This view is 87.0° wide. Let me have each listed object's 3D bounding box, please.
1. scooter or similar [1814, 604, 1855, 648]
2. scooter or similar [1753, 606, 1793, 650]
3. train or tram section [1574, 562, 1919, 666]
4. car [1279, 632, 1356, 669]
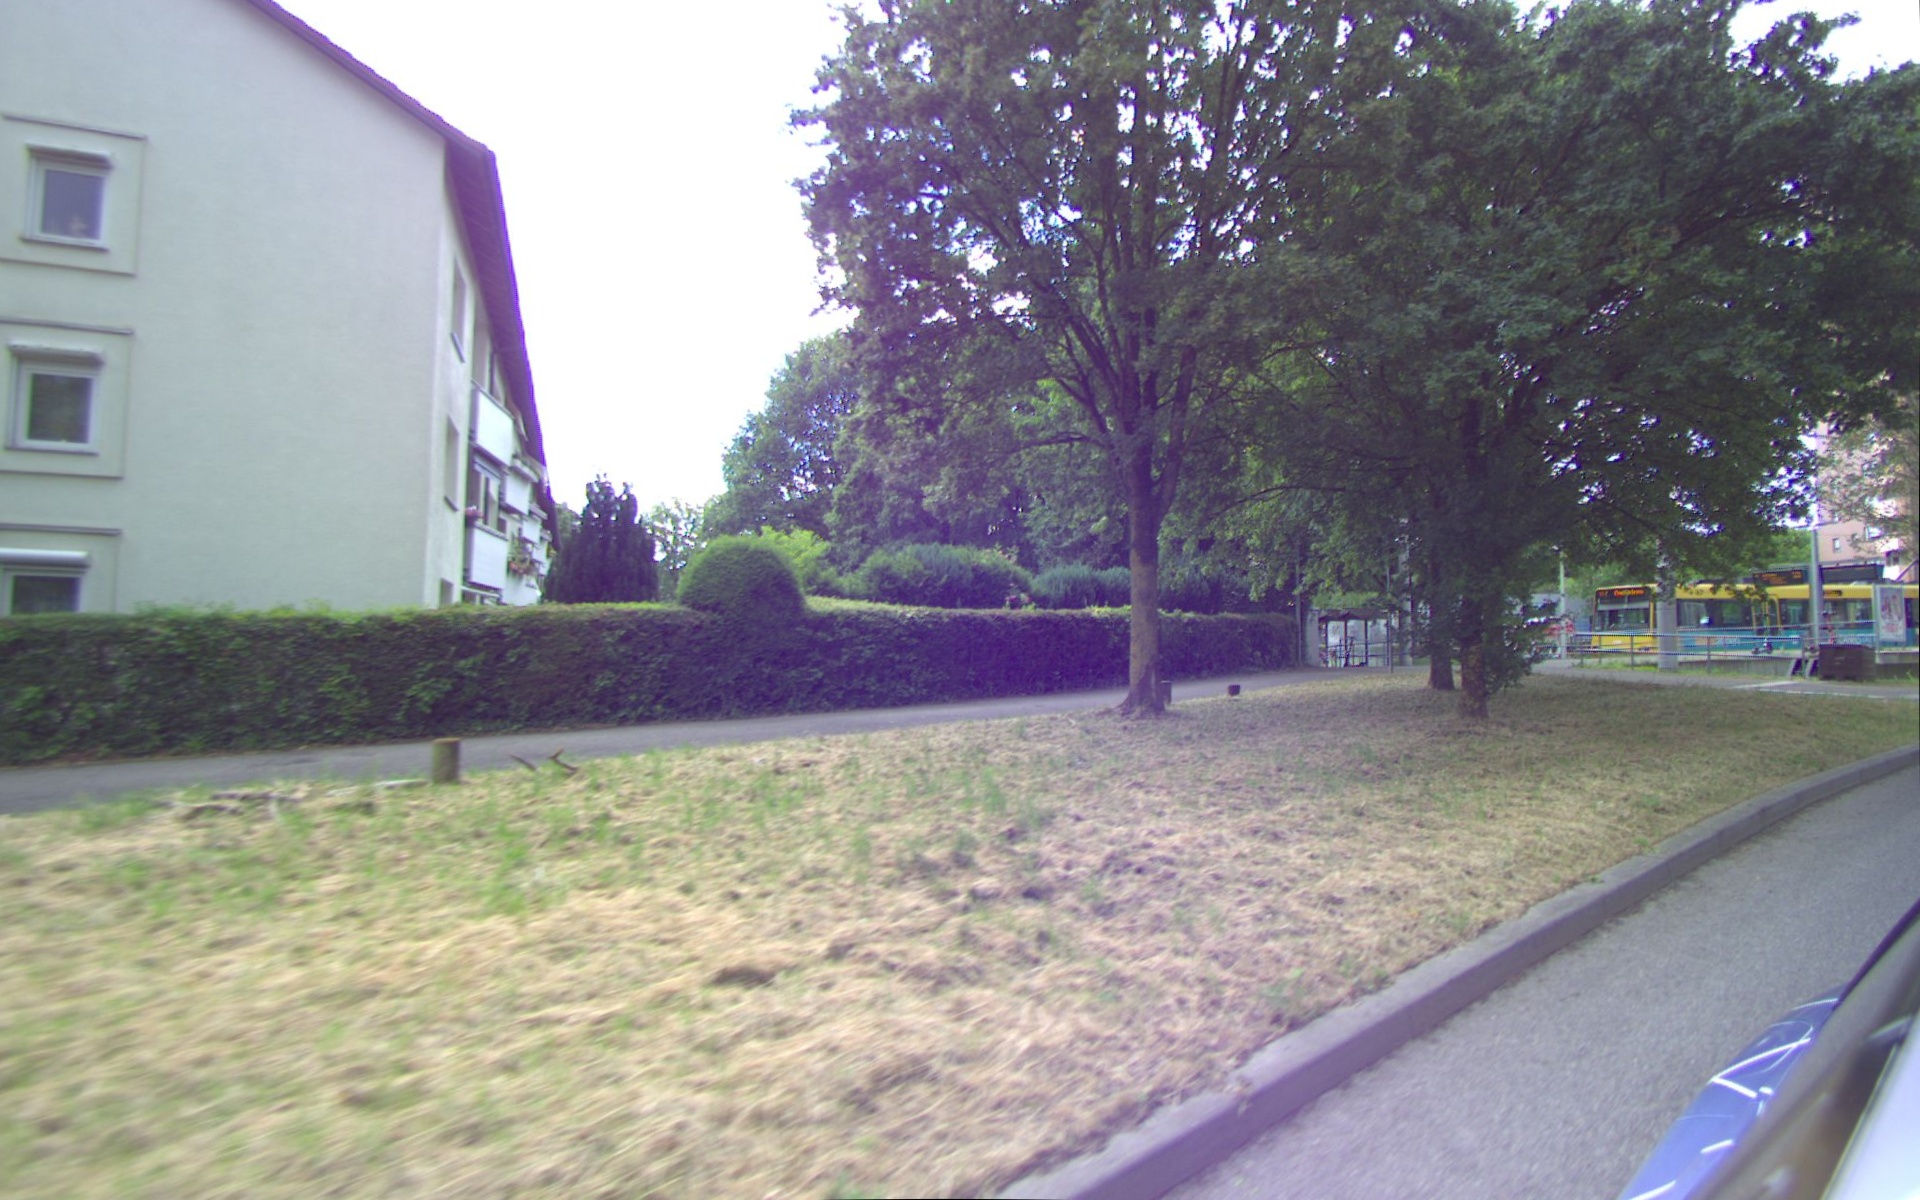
[{"bbox_3d":[26.411,0.770,30.566,1.229,1.269,0.432,-2,-2,-26],"label":"scooter or similar"},{"bbox_3d":[24.535,0.829,30.539,1.229,1.269,0.431,-2,-2,-29],"label":"scooter or similar"},{"bbox_3d":[32.813,0.595,39.583,19.101,3.637,2.826,0,-5,-17],"label":"train or tram section"},{"bbox_3d":[21.232,2.967,60.184,3.916,2.040,1.908,0,-2,-16],"label":"car"}]
